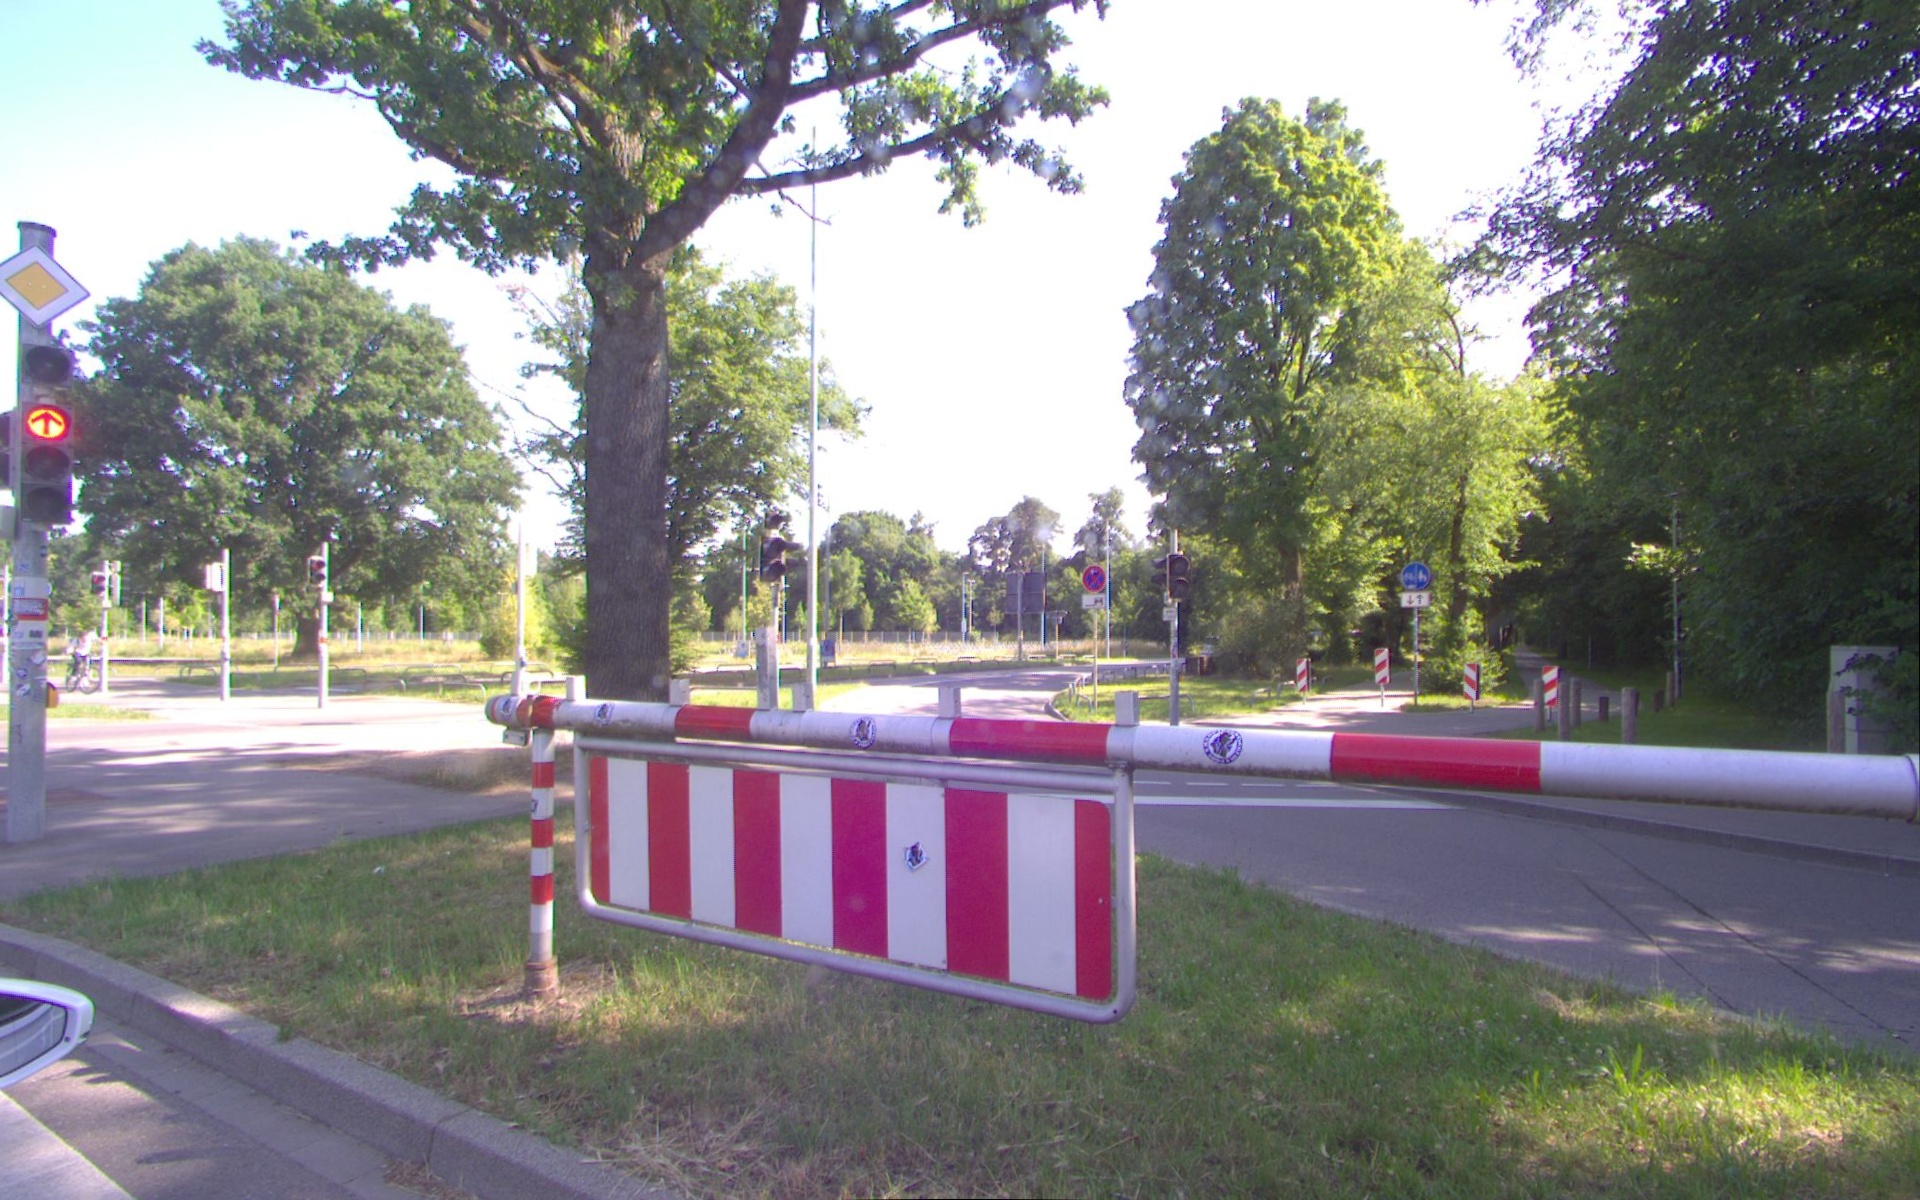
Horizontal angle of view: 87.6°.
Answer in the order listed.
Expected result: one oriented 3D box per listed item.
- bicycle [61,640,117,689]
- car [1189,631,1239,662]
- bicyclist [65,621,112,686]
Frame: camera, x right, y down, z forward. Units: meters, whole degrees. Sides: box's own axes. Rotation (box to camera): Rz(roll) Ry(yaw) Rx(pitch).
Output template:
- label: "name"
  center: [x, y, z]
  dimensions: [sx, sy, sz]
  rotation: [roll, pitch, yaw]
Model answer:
- label: "bicycle"
  center: [-22.966, 1.678, 26.393]
  dimensions: [2.074, 1.215, 0.721]
  rotation: [-1, -2, 38]
- label: "car"
  center: [15.340, 2.802, 60.334]
  dimensions: [1.827, 1.772, 3.982]
  rotation: [0, -2, 31]
- label: "bicyclist"
  center: [-23.008, 1.397, 26.432]
  dimensions: [1.045, 1.660, 0.721]
  rotation: [-1, -2, 38]
